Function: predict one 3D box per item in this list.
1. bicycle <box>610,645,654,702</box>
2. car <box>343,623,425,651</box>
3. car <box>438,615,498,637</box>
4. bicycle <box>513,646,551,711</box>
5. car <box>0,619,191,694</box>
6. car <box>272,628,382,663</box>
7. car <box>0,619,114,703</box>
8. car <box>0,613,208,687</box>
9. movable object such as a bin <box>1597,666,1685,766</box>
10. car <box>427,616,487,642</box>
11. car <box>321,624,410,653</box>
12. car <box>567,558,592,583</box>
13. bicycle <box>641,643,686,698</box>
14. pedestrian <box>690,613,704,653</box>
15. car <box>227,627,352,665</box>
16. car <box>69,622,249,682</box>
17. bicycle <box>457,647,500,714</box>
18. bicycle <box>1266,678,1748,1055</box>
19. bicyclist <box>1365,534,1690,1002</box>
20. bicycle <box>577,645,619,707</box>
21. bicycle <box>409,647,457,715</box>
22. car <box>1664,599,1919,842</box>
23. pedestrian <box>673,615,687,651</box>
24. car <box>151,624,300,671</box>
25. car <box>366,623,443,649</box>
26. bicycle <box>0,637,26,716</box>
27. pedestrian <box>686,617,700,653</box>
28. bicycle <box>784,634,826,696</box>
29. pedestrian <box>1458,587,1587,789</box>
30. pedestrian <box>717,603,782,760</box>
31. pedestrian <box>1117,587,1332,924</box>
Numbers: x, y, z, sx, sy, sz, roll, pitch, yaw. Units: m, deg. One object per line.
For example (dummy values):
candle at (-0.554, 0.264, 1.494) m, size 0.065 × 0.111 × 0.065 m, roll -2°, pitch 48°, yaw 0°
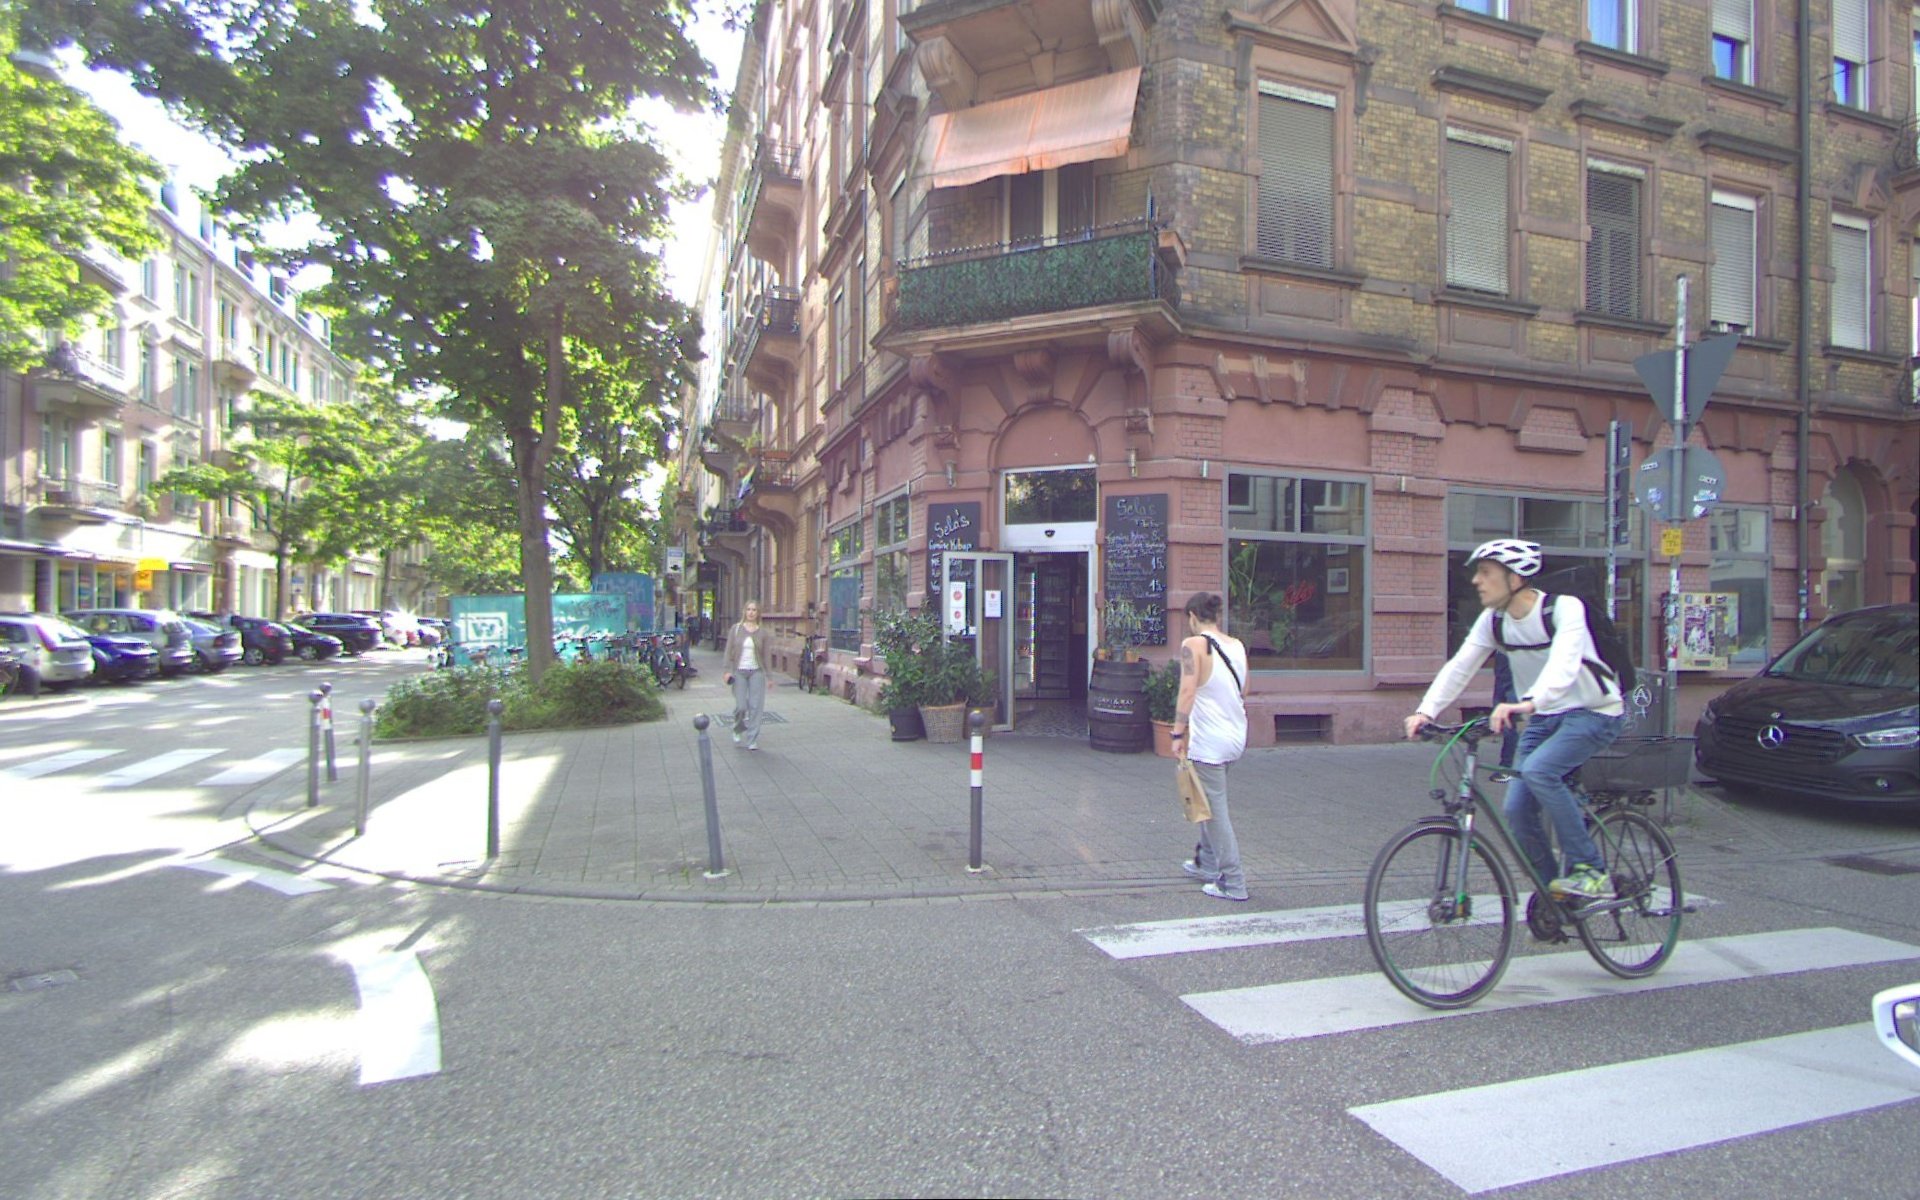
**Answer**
bicycle at (-6.343, 1.387, 19.371) m, size 0.583 × 0.981 × 2.065 m, roll -1°, pitch 0°, yaw -24°
car at (-28.361, 1.835, 49.547) m, size 3.286 × 1.333 × 1.401 m, roll 0°, pitch -2°, yaw -18°
car at (-34.569, 1.826, 70.692) m, size 3.663 × 1.492 × 1.795 m, roll 0°, pitch 0°, yaw -23°
bicycle at (-7.721, 1.385, 18.109) m, size 0.583 × 1.025 × 2.065 m, roll -1°, pitch 0°, yaw -24°
car at (-18.972, 1.159, 21.223) m, size 4.009 × 1.496 × 1.571 m, roll 0°, pitch 0°, yaw -18°
car at (-24.127, 1.727, 38.387) m, size 3.286 × 1.270 × 1.372 m, roll 0°, pitch -2°, yaw -18°
car at (-18.573, 1.134, 18.962) m, size 3.640 × 1.496 × 1.571 m, roll 0°, pitch 0°, yaw -18°
car at (-20.086, 1.133, 23.520) m, size 3.640 × 1.618 × 1.571 m, roll 0°, pitch 0°, yaw -18°
movable object such as a bin at (5.351, 0.901, 7.898) m, size 0.469 × 0.724 × 0.382 m, roll 0°, pitch 0°, yaw -23°
car at (-33.027, 1.879, 66.010) m, size 3.305 × 1.614 × 1.590 m, roll 0°, pitch 0°, yaw -17°
car at (-27.602, 1.785, 46.704) m, size 3.286 × 1.333 × 1.401 m, roll 0°, pitch -2°, yaw -18°
car at (-32.777, -2.525, 86.672) m, size 1.970 × 2.040 × 3.981 m, roll 0°, pitch 0°, yaw -20°
bicycle at (-5.987, 1.388, 20.225) m, size 0.583 × 0.981 × 2.065 m, roll -1°, pitch 0°, yaw -24°
pedestrian at (-13.521, 1.672, 51.664) m, size 0.589 × 2.040 × 0.681 m, roll 0°, pitch -1°, yaw -10°
car at (-23.039, 1.580, 34.621) m, size 3.286 × 1.270 × 1.372 m, roll 0°, pitch -2°, yaw -18°
car at (-20.451, 1.317, 25.785) m, size 3.286 × 1.462 × 1.372 m, roll 0°, pitch -2°, yaw -18°
bicycle at (-8.466, 1.381, 17.703) m, size 0.583 × 1.043 × 2.065 m, roll -1°, pitch 0°, yaw -24°
bicycle at (2.320, 0.971, 4.186) m, size 2.089 × 1.236 × 0.698 m, roll 3°, pitch -2°, yaw -26°
bicyclist at (2.381, 0.640, 4.226) m, size 1.098 × 1.699 × 0.698 m, roll 3°, pitch -2°, yaw -26°
bicycle at (-6.773, 1.385, 18.729) m, size 0.583 × 1.025 × 2.065 m, roll -1°, pitch 0°, yaw -24°
bicycle at (-9.150, 1.376, 17.491) m, size 0.583 × 1.043 × 2.129 m, roll -1°, pitch 0°, yaw -24°
car at (8.739, 0.927, 9.056) m, size 4.339 × 1.797 × 1.757 m, roll 1°, pitch 0°, yaw -20°
pedestrian at (-13.361, 1.585, 47.900) m, size 0.531 × 1.685 × 0.588 m, roll 0°, pitch -1°, yaw -8°
car at (-21.885, 1.417, 30.060) m, size 3.286 × 1.350 × 1.372 m, roll 0°, pitch -2°, yaw -18°
car at (-28.837, 1.880, 52.251) m, size 3.286 × 1.333 × 1.401 m, roll 0°, pitch -2°, yaw -18°
bicycle at (-15.355, 1.206, 15.543) m, size 0.471 × 1.240 × 2.283 m, roll 1°, pitch -1°, yaw -21°
pedestrian at (-12.736, 1.677, 47.951) m, size 0.560 × 1.705 × 0.625 m, roll 0°, pitch -1°, yaw -8°
bicycle at (-2.988, 1.221, 19.260) m, size 0.520 × 1.081 × 1.776 m, roll 1°, pitch 0°, yaw -18°
pedestrian at (5.438, 0.815, 9.735) m, size 0.844 × 1.865 × 0.675 m, roll 0°, pitch 1°, yaw -20°
pedestrian at (-2.288, 0.852, 10.914) m, size 0.604 × 1.599 × 0.808 m, roll -2°, pitch 1°, yaw -12°
pedestrian at (1.446, 0.800, 5.652) m, size 0.790 × 1.693 × 1.020 m, roll 1°, pitch -1°, yaw -12°
